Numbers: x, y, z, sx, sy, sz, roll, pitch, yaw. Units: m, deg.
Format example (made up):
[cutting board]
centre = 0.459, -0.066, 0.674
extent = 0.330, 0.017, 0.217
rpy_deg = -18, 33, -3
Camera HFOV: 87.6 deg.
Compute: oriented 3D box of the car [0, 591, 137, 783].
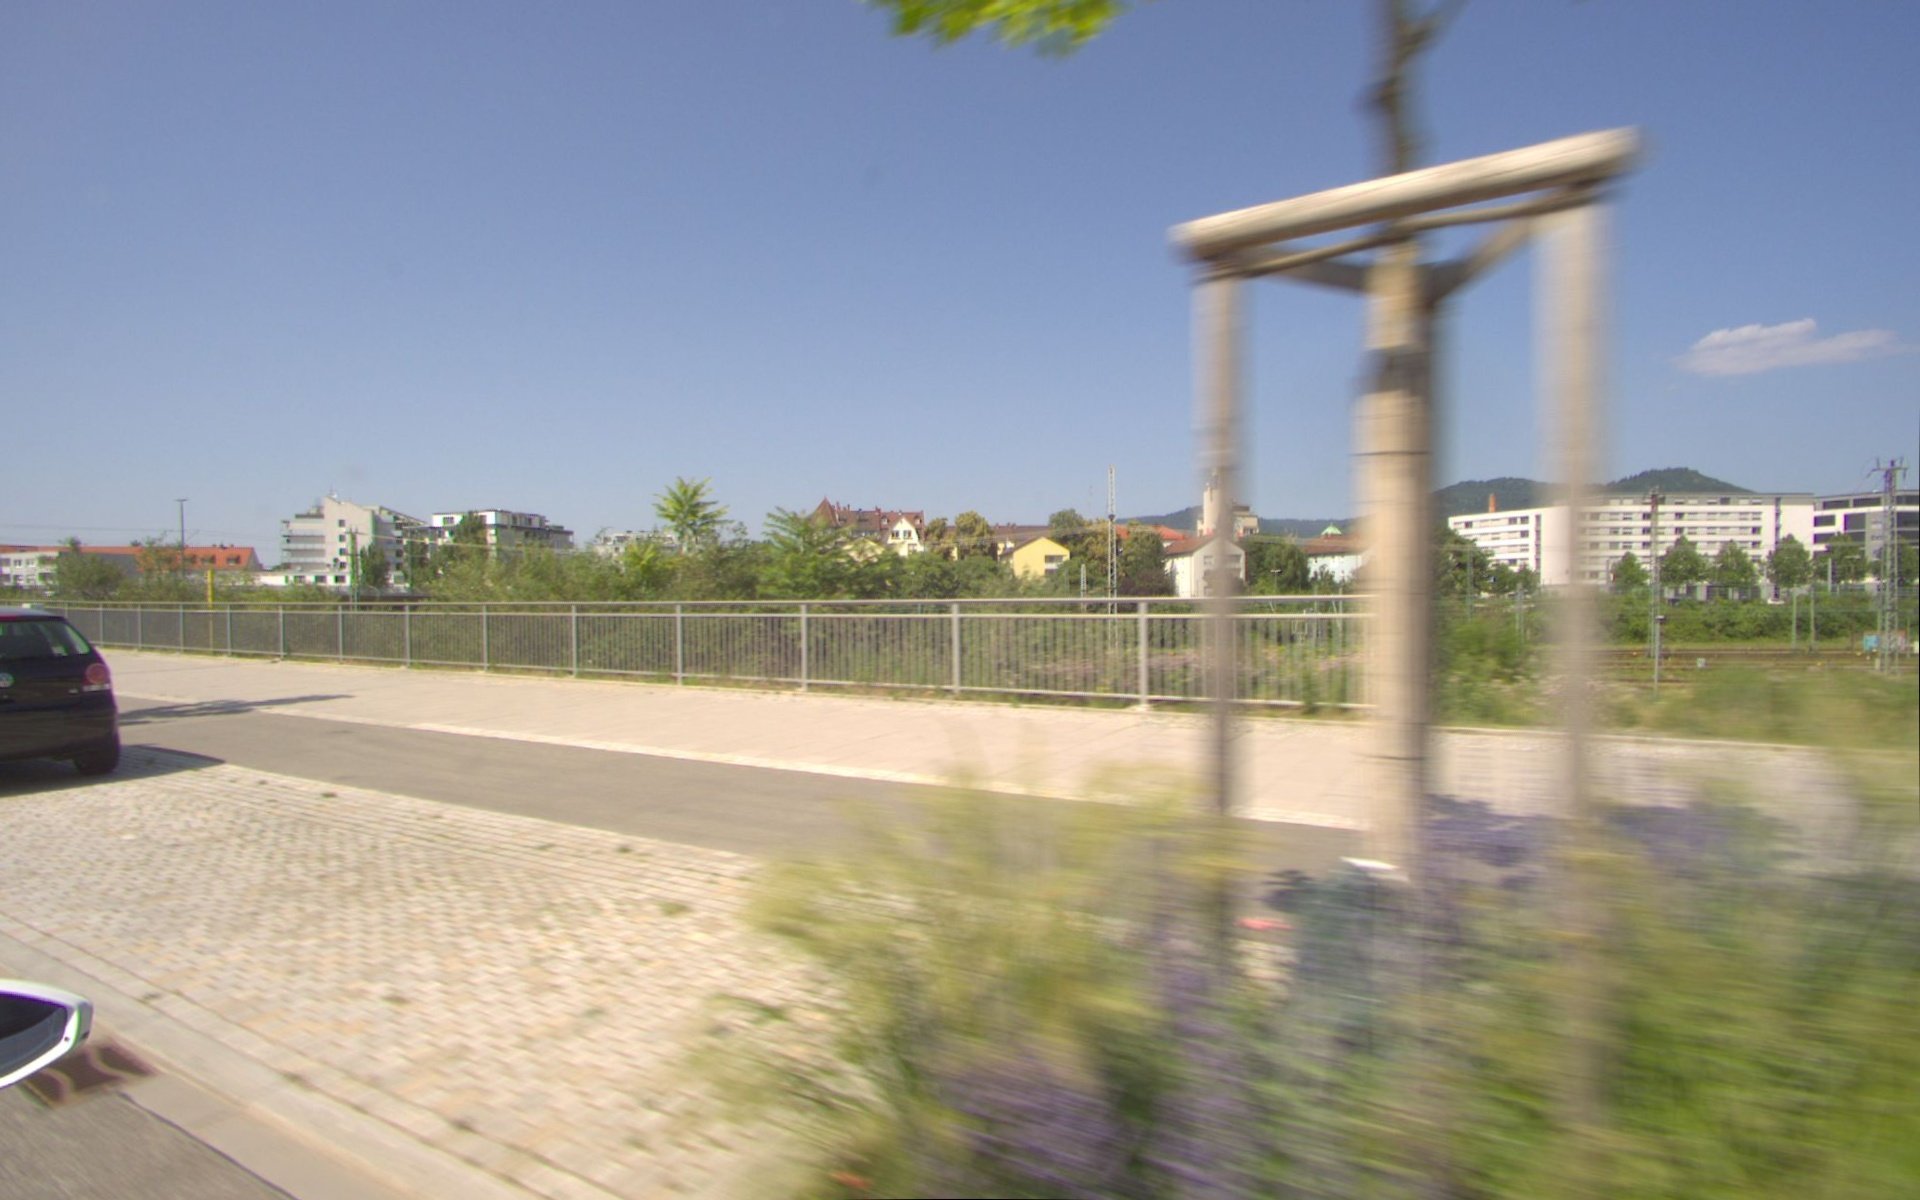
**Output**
[car]
centre = -9.164, 0.729, 8.807
extent = 3.896, 1.482, 1.701
rpy_deg = -1, 1, 30
